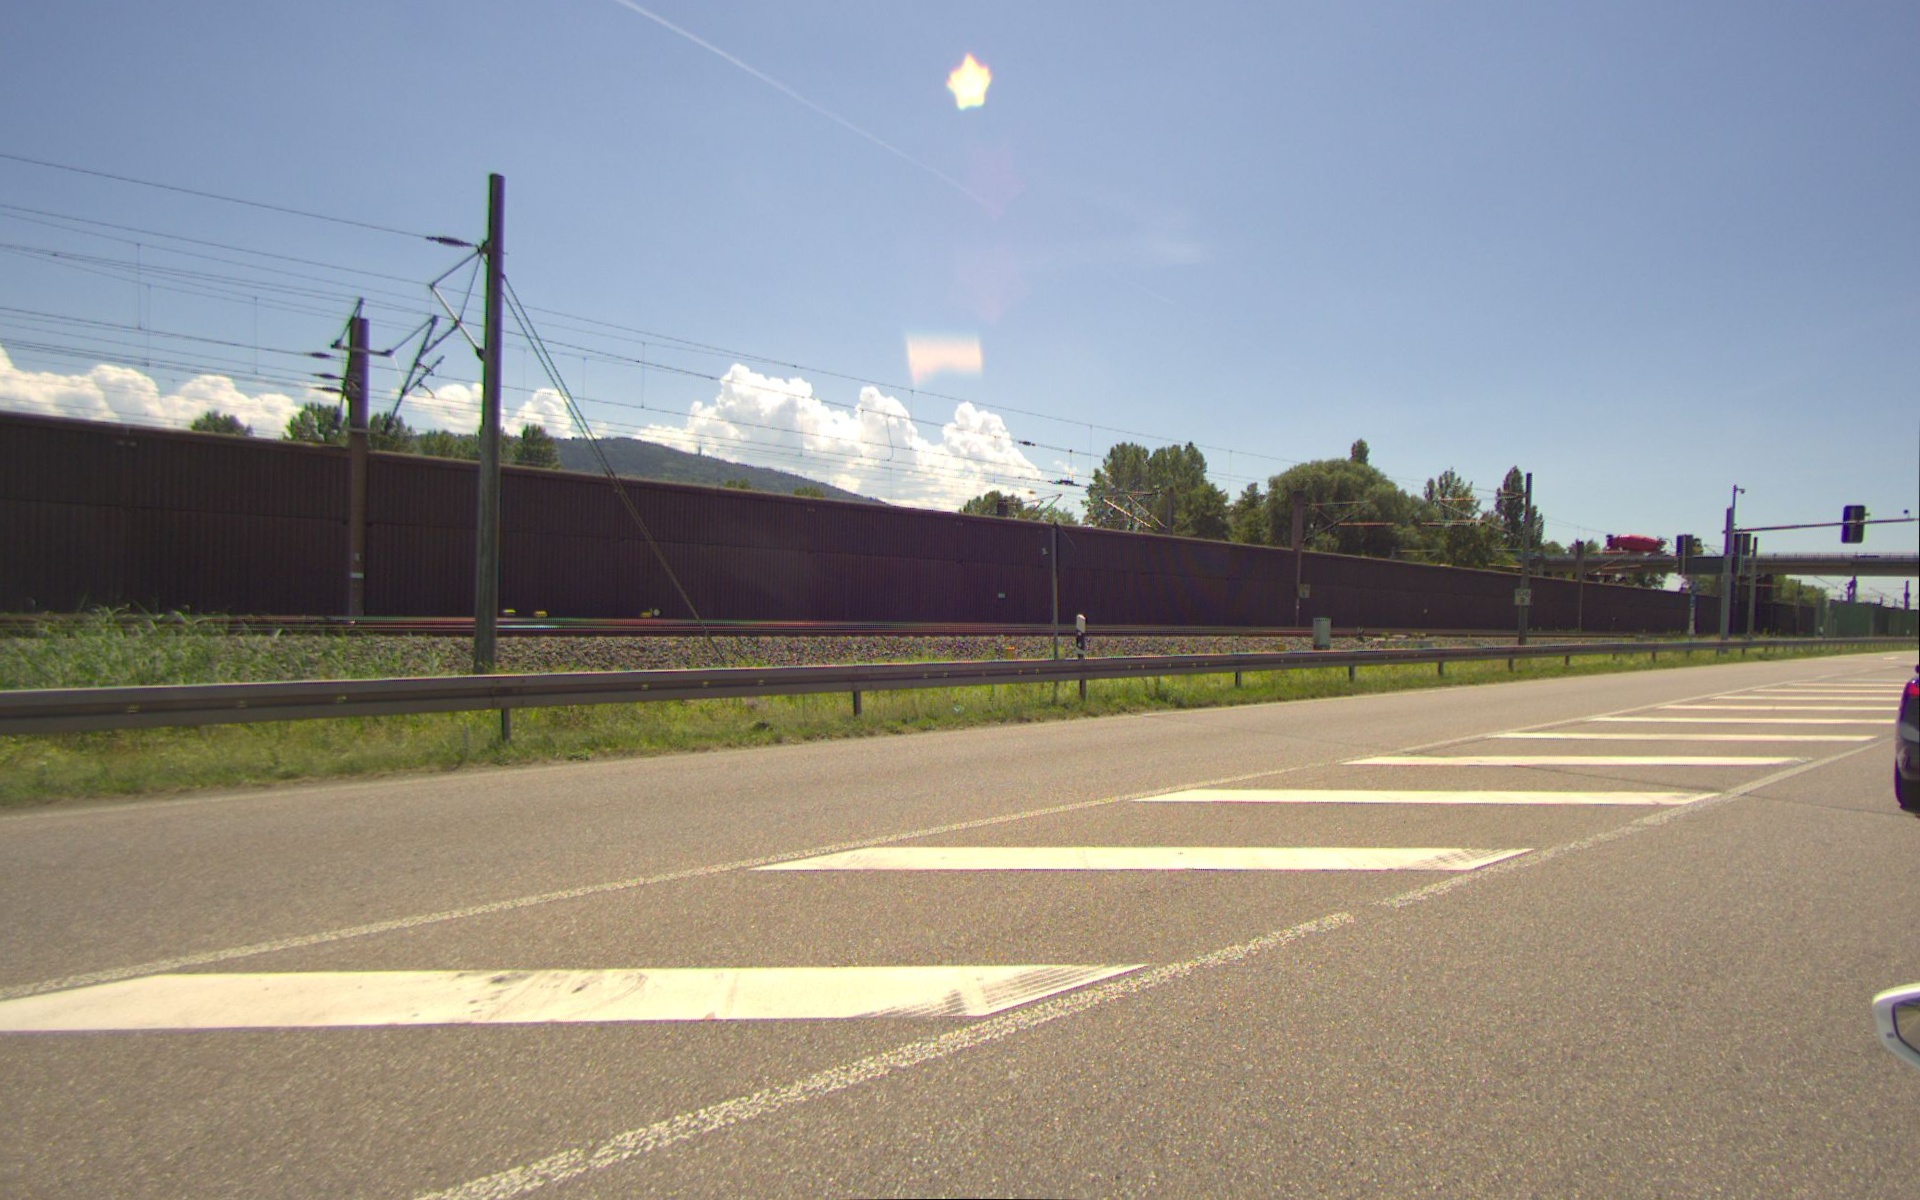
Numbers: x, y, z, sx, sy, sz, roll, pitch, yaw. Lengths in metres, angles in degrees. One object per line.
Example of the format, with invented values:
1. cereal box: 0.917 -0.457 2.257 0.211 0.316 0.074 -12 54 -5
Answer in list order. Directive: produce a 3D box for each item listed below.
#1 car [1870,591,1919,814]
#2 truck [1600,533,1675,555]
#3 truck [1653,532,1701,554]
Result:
1. car: 9.101 0.810 8.229 4.190 1.644 1.830 2 0 -39
2. truck: 94.679 -7.786 140.538 1.983 2.710 8.426 1 0 -39
3. truck: 97.683 -7.731 136.892 1.984 2.710 5.048 1 0 -40
